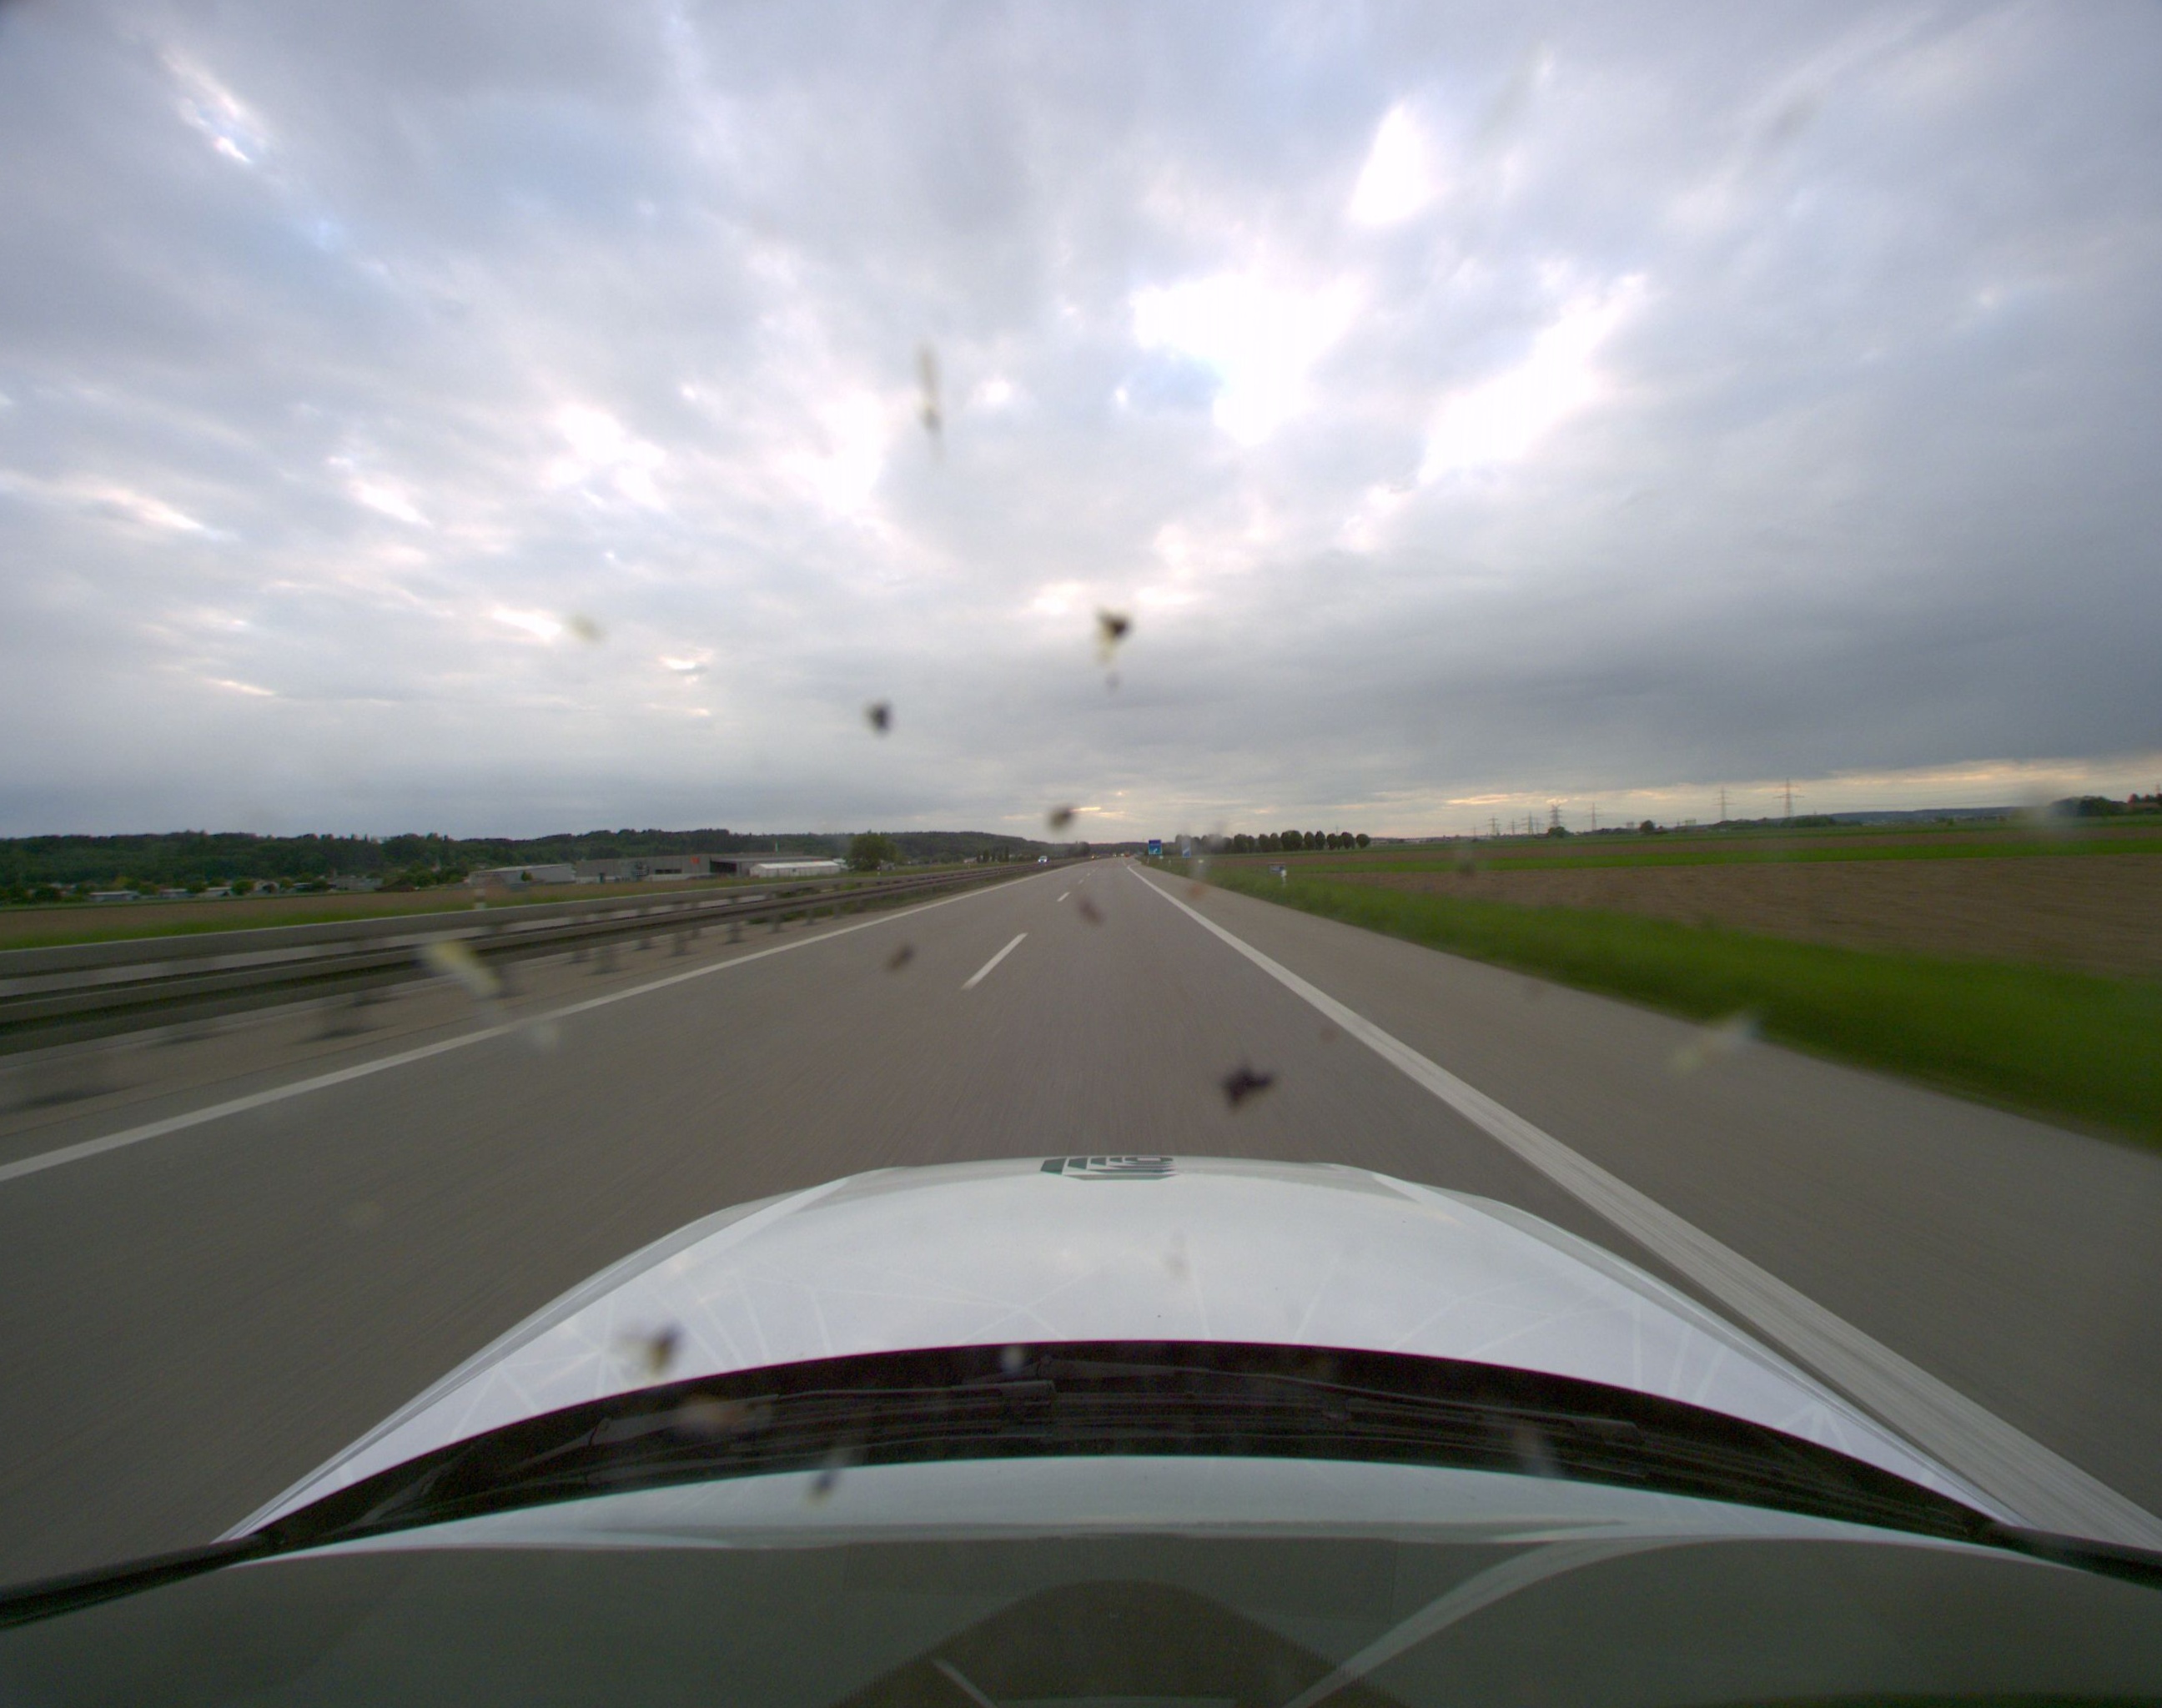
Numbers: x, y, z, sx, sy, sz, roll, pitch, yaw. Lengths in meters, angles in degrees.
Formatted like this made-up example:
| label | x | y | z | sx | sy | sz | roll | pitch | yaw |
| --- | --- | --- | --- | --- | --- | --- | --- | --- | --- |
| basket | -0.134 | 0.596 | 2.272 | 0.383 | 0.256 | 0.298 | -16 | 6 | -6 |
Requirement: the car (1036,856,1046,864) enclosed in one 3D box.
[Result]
| label | x | y | z | sx | sy | sz | roll | pitch | yaw |
| --- | --- | --- | --- | --- | --- | --- | --- | --- | --- |
| car | -9.416 | 1.468 | 193.711 | 1.986 | 1.765 | 4.953 | 0 | 0 | 2 |
